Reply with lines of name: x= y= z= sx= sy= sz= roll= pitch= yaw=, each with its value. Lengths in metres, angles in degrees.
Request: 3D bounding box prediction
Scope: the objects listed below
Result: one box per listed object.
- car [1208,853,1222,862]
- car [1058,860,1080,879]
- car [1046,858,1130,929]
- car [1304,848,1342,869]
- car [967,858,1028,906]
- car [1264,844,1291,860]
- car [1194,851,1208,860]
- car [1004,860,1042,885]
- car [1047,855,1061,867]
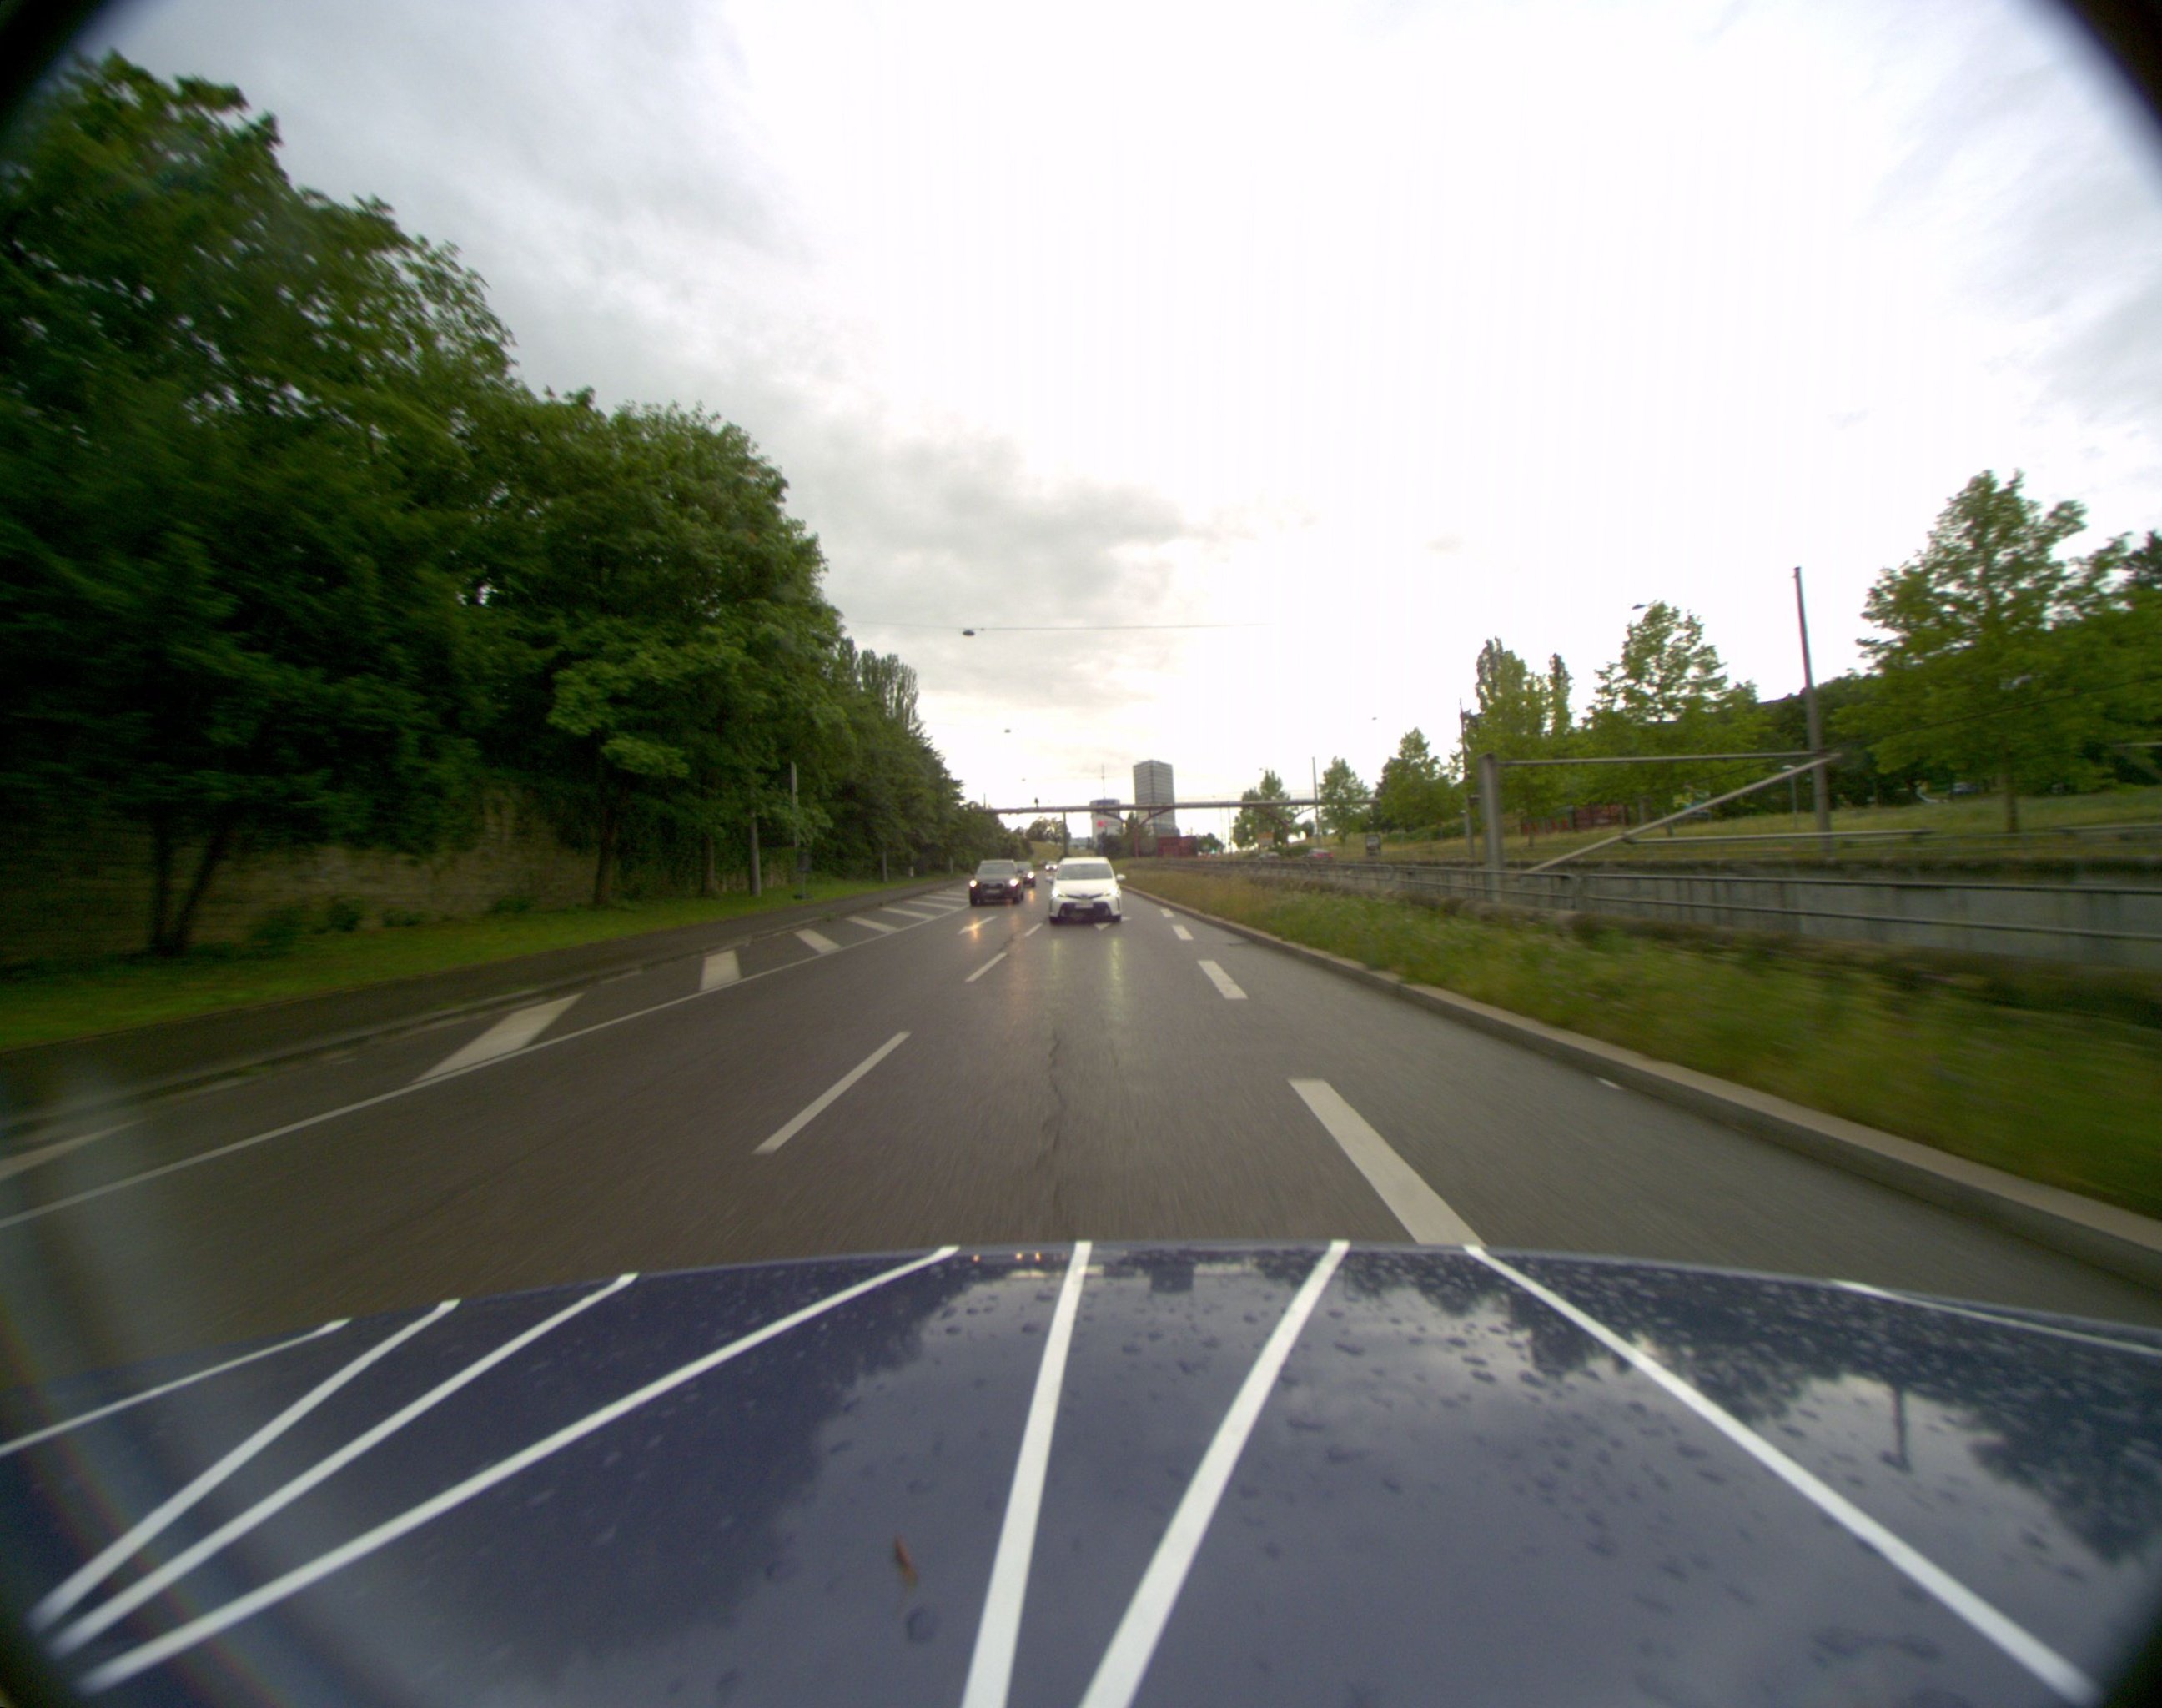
car: x=25.630 y=0.729 z=145.269 sx=1.661 sy=1.565 sz=3.790 roll=-5 pitch=0 yaw=-5
car: x=-1.171 y=1.558 z=77.906 sx=1.998 sy=1.761 sz=4.001 roll=-3 pitch=0 yaw=2
car: x=0.211 y=0.931 z=19.903 sx=1.924 sy=1.604 sz=4.375 roll=-1 pitch=0 yaw=1
car: x=21.859 y=0.413 z=68.826 sx=1.896 sy=1.634 sz=4.357 roll=-5 pitch=0 yaw=-1
car: x=-3.086 y=0.987 z=28.875 sx=1.928 sy=1.591 sz=4.278 roll=-2 pitch=0 yaw=-2
car: x=22.212 y=-0.223 z=85.996 sx=1.896 sy=1.631 sz=3.972 roll=-3 pitch=0 yaw=-1
car: x=21.121 y=0.297 z=133.840 sx=1.661 sy=1.519 sz=4.435 roll=-3 pitch=-1 yaw=-1
car: x=-3.411 y=1.075 z=45.332 sx=1.846 sy=1.377 sz=4.000 roll=-3 pitch=0 yaw=1
car: x=-3.990 y=1.067 z=112.897 sx=1.999 sy=1.761 sz=3.999 roll=-1 pitch=0 yaw=-1
